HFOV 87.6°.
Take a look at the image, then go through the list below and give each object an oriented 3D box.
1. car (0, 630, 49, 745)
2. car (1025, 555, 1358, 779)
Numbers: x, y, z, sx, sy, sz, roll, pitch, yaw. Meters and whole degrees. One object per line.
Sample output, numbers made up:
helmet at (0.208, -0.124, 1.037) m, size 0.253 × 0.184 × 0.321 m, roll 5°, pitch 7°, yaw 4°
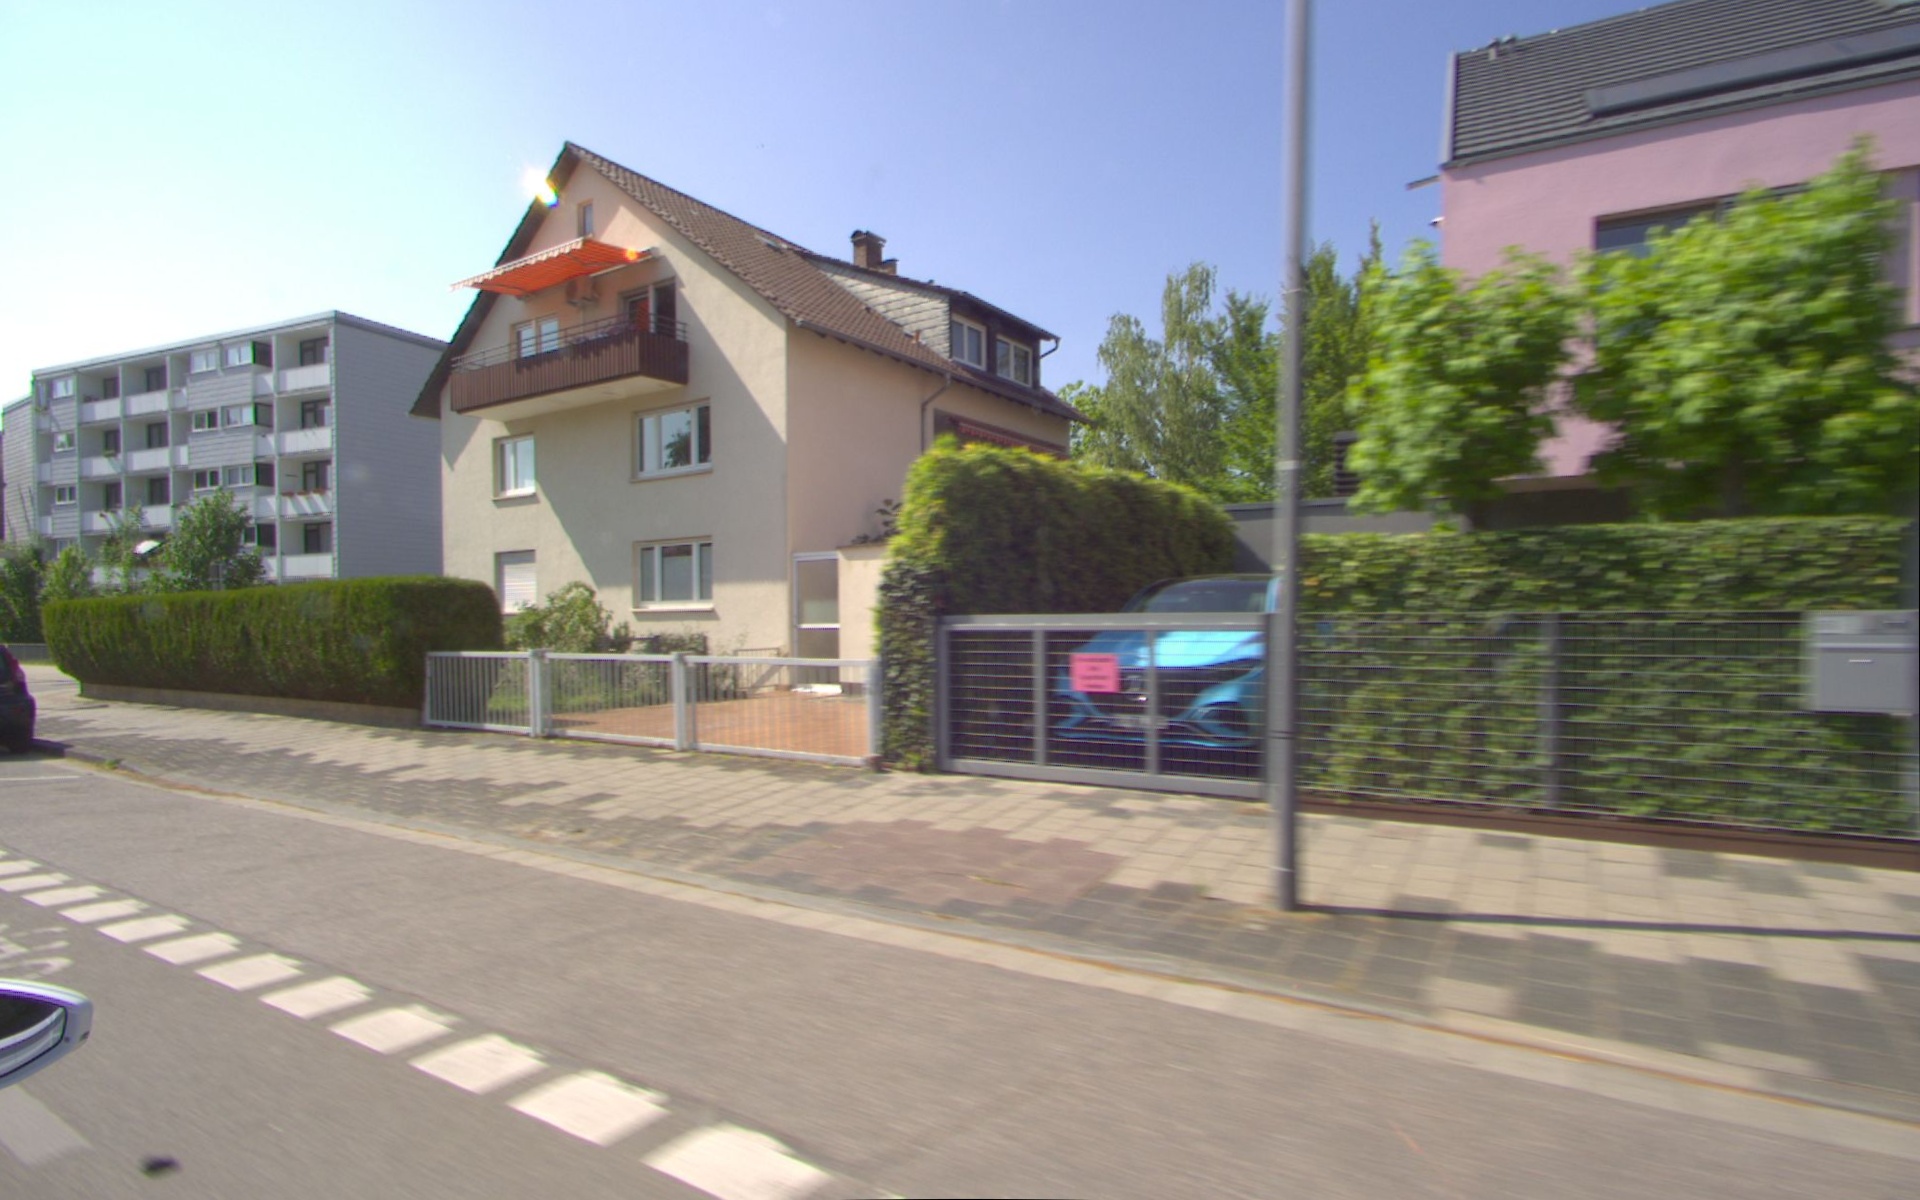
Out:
car at (-13.592, 1.104, 12.996) m, size 3.943 × 1.407 × 1.614 m, roll -1°, pitch -2°, yaw 32°
car at (2.685, 0.562, 10.404) m, size 1.949 × 1.728 × 5.080 m, roll -1°, pitch -1°, yaw 30°
